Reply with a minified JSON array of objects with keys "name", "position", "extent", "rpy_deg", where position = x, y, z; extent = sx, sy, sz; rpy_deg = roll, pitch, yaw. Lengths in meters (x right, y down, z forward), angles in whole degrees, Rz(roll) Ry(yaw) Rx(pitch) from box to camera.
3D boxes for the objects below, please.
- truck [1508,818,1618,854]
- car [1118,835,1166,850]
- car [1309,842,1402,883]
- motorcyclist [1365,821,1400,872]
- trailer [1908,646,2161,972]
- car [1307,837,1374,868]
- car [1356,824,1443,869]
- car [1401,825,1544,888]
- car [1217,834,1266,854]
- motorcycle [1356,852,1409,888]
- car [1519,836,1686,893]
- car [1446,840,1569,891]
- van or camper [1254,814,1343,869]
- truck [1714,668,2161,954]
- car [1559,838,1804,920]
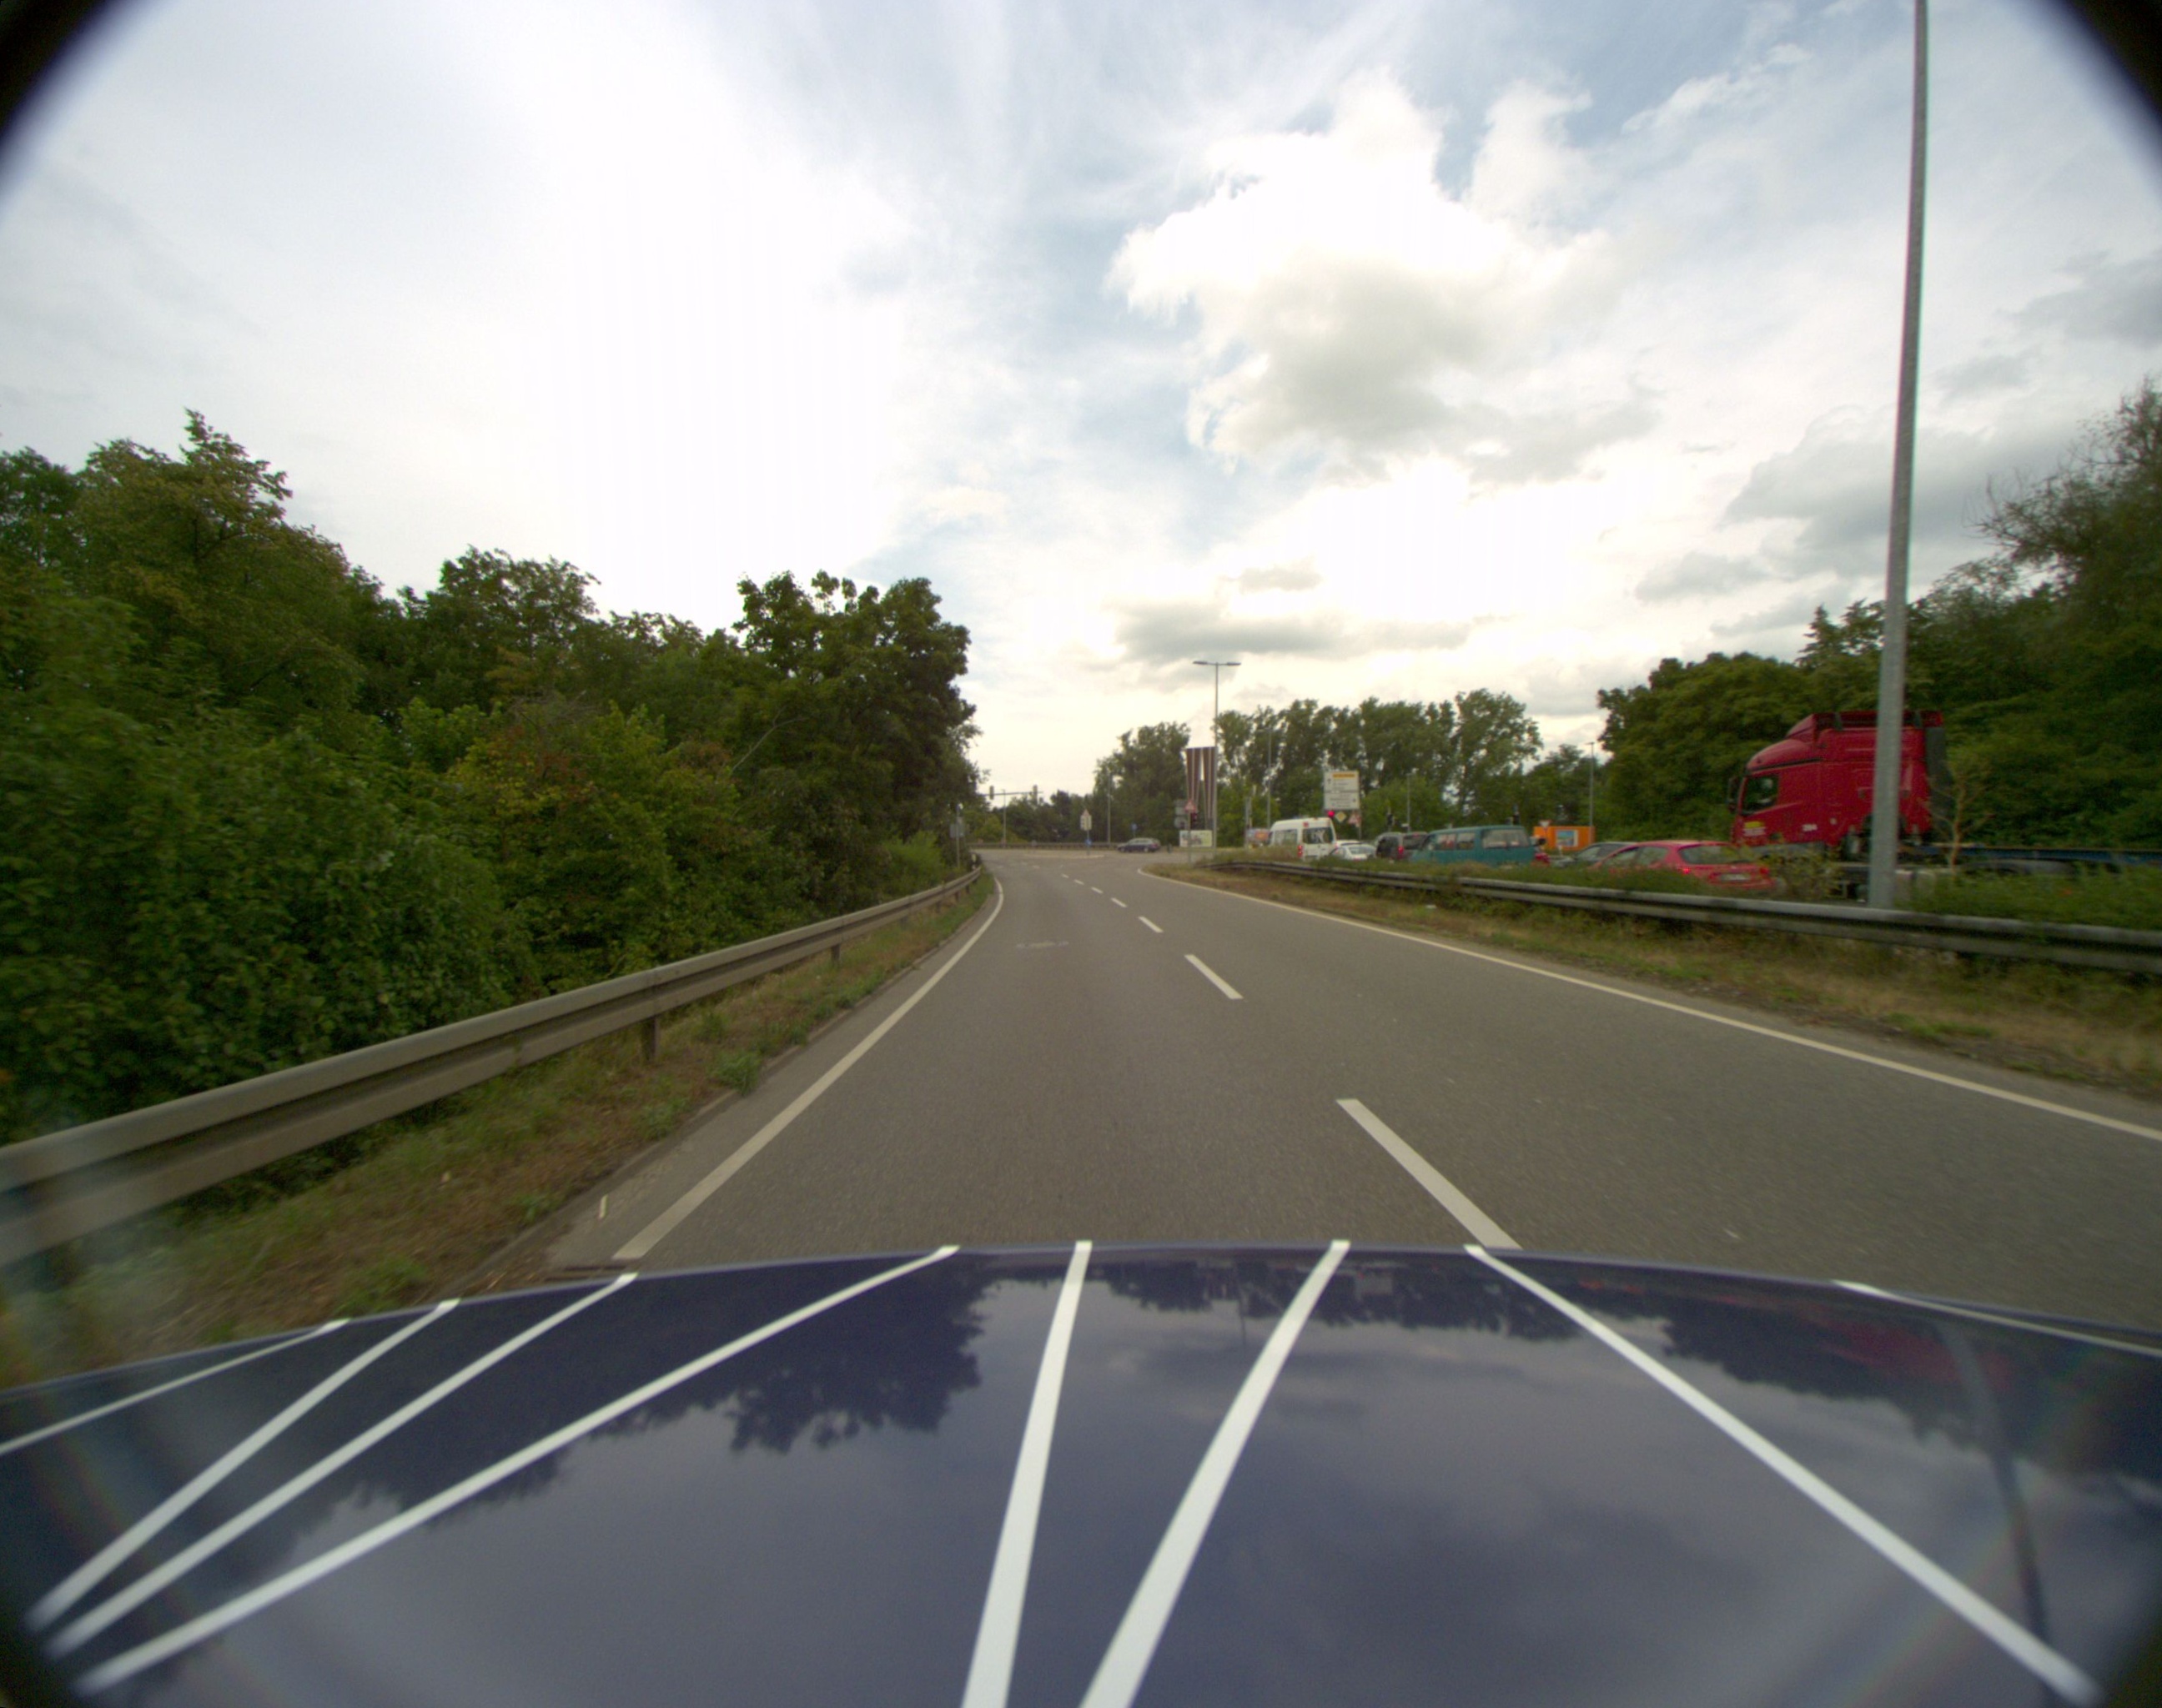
[{"name":"truck","position":[45.796,-1.739,72.230],"extent":[9.277,3.118,2.968],"rpy_deg":[-1,2,-10]},{"name":"car","position":[6.133,-1.190,76.816],"extent":[4.366,1.480,2.003],"rpy_deg":[0,2,29]},{"name":"car","position":[11.304,0.294,31.664],"extent":[1.999,1.490,4.396],"rpy_deg":[-1,2,-5]},{"name":"motorcyclist","position":[10.998,-0.277,27.774],"extent":[0.868,1.813,0.924],"rpy_deg":[-1,2,-5]},{"name":"trailer","position":[14.888,-0.515,7.161],"extent":[2.541,4.124,10.769],"rpy_deg":[-1,2,1]},{"name":"car","position":[14.251,-0.138,41.982],"extent":[1.999,1.538,4.536],"rpy_deg":[-1,2,-2]},{"name":"car","position":[14.372,-0.368,34.553],"extent":[1.999,1.891,4.164],"rpy_deg":[-1,2,-3]},{"name":"car","position":[11.886,-0.004,23.523],"extent":[1.809,1.720,4.958],"rpy_deg":[-1,2,-1]},{"name":"car","position":[15.334,-0.976,72.629],"extent":[4.256,1.773,1.926],"rpy_deg":[-1,2,-6]},{"name":"motorcycle","position":[11.006,0.557,27.817],"extent":[0.801,1.218,2.324],"rpy_deg":[-1,2,-6]},{"name":"car","position":[15.092,0.227,22.321],"extent":[1.809,1.458,4.276],"rpy_deg":[-1,2,-3]},{"name":"car","position":[14.999,0.344,27.015],"extent":[1.999,1.605,3.997],"rpy_deg":[-1,2,-3]},{"name":"van or camper","position":[11.040,-0.683,39.210],"extent":[2.167,2.574,6.490],"rpy_deg":[-1,2,-6]},{"name":"truck","position":[15.023,-0.687,13.700],"extent":[2.574,4.061,5.621],"rpy_deg":[-1,2,1]},{"name":"car","position":[12.134,0.400,15.787],"extent":[1.809,1.424,4.124],"rpy_deg":[-1,2,0]}]
